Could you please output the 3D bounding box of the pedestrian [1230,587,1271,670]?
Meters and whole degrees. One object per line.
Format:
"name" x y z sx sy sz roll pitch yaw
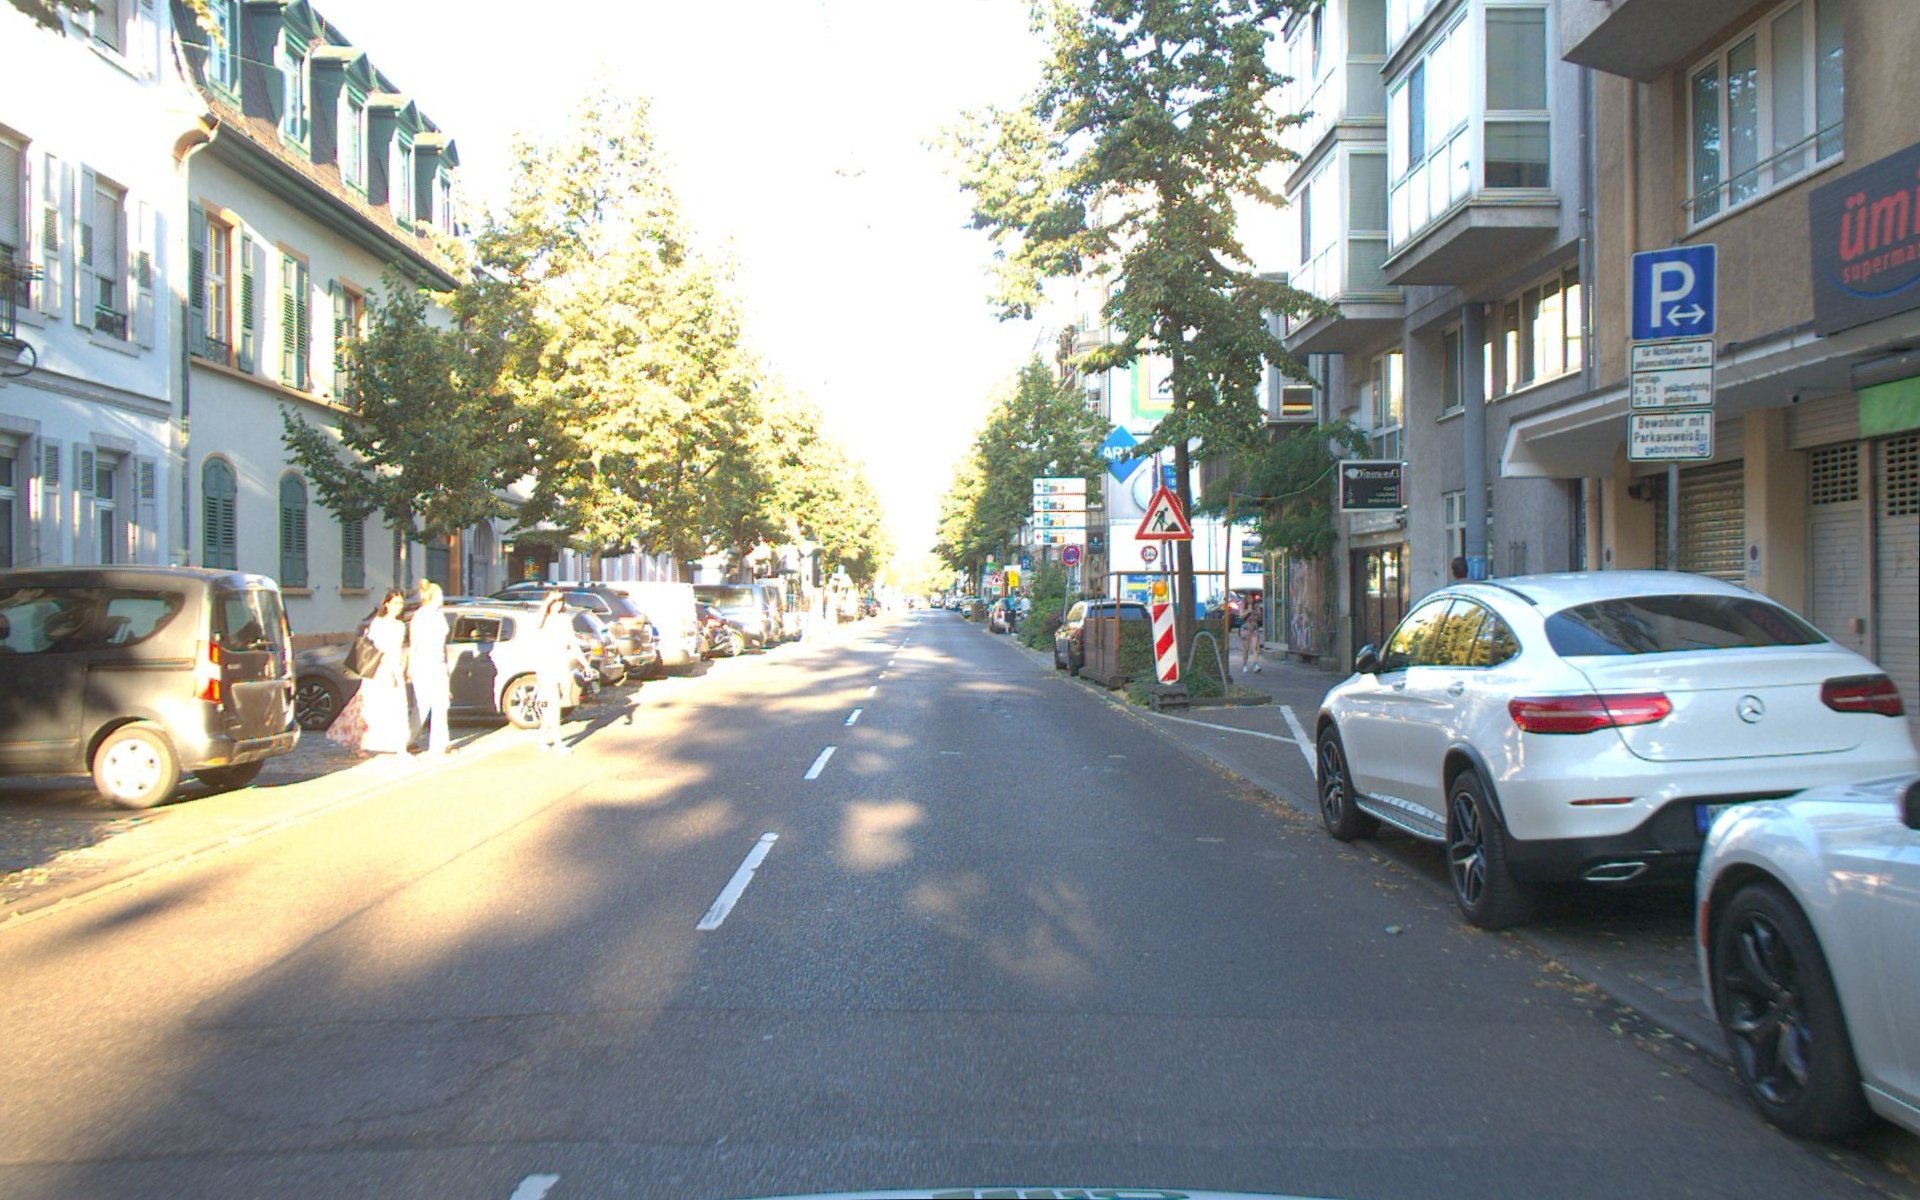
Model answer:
"pedestrian" 5.498 0.531 31.296 0.598 1.552 0.773 -1 0 -1

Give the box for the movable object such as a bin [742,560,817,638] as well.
"movable object such as a bin" -7.256 -0.035 67.139 2.571 3.021 5.302 0 0 -1

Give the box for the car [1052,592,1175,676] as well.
"car" 3.044 0.636 33.729 1.792 1.514 4.847 -2 0 -3

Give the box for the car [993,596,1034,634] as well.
"car" 2.417 0.660 75.643 1.653 1.602 4.012 -3 0 -1

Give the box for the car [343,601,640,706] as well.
"car" -7.044 0.777 25.190 3.956 1.509 1.962 0 0 -2

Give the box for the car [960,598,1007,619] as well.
"car" 1.903 0.674 131.867 1.645 1.616 3.801 0 0 41

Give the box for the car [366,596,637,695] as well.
"car" -7.589 0.735 27.645 3.954 1.582 1.965 0 0 1

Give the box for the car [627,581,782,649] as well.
"car" -7.732 0.446 50.434 4.392 2.010 2.068 0 0 -1

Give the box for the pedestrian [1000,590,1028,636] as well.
"pedestrian" 2.278 0.553 69.940 0.995 1.857 0.778 -3 0 -11

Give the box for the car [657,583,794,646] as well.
"car" -7.879 0.481 55.822 4.394 2.010 1.964 1 0 -3

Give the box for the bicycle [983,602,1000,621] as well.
"bicycle" 2.062 0.762 108.763 0.585 1.198 1.847 0 0 18

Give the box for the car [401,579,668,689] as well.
"car" -7.647 0.589 30.020 4.338 1.903 1.894 0 0 -1

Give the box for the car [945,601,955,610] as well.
"car" -1.581 0.826 252.464 1.482 1.321 3.303 0 -1 0

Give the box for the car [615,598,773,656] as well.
"car" -7.396 0.745 46.323 4.243 1.527 1.840 1 0 -6

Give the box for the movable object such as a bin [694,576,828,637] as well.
"movable object such as a bin" -8.533 0.279 71.460 2.272 2.539 5.720 0 0 42

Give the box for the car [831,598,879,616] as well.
"car" -9.832 0.659 154.994 4.351 1.549 1.919 1 0 -1

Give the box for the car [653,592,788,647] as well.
"car" -7.659 0.606 53.132 4.045 1.665 1.860 1 0 -1

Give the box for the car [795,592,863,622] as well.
"car" -8.961 0.476 113.242 4.479 1.996 1.990 1 0 -1

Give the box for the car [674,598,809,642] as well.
"car" -7.759 0.695 58.897 4.499 1.495 1.893 1 0 2

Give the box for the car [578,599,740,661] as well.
"car" -7.813 0.771 43.199 3.842 1.527 1.905 1 0 1

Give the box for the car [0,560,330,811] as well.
"car" -7.373 0.634 13.096 4.053 1.838 1.807 0 0 0

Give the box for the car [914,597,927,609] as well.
"car" -5.545 0.452 234.495 1.716 1.567 3.303 0 -1 0

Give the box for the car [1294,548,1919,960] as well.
"car" 3.283 0.615 9.087 1.841 1.601 4.691 -3 0 -1

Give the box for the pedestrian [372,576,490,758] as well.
"pedestrian" -5.365 0.665 16.822 0.903 1.790 0.762 -2 0 0

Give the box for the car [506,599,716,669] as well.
"car" -7.922 0.764 37.806 4.385 1.511 1.734 1 0 1

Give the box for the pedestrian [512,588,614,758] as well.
"pedestrian" -4.014 0.722 16.788 0.810 1.667 0.827 -1 0 0

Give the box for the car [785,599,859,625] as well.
"car" -8.585 0.730 103.062 4.455 1.568 1.810 1 0 -2

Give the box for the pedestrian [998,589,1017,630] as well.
"pedestrian" 2.080 0.432 72.446 0.665 1.785 0.823 -1 -1 -11

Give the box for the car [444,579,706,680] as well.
"car" -7.593 0.567 32.983 4.771 1.941 1.973 0 0 -1

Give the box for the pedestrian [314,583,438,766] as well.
"pedestrian" -5.654 0.704 16.054 0.902 1.725 0.762 -1 0 0

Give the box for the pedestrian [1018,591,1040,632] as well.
"pedestrian" 3.012 0.507 72.167 0.657 1.730 0.648 -3 0 45

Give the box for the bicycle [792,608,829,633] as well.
"bicycle" -7.053 0.968 78.040 1.647 1.097 0.445 2 -1 7

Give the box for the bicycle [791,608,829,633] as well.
"bicycle" -7.029 0.955 77.448 1.647 1.097 0.445 2 -1 7

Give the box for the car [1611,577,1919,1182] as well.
"car" 3.323 0.682 3.374 1.804 1.506 5.188 -3 0 -1

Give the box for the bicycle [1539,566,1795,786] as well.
"bicycle" 4.601 0.453 10.945 0.759 1.284 2.050 -3 0 0

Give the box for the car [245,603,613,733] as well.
"car" -6.390 0.795 20.238 3.978 1.487 1.684 0 0 -4

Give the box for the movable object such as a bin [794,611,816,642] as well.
"movable object such as a bin" -5.702 0.983 60.876 0.675 1.124 0.883 -1 0 1

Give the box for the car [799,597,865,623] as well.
"car" -8.940 0.715 116.004 4.478 1.727 2.060 1 0 -1

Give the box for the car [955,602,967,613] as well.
"car" 0.154 0.972 211.591 1.482 1.298 3.303 0 -1 0

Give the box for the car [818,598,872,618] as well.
"car" -9.571 0.662 137.540 4.351 1.595 1.919 1 0 -1

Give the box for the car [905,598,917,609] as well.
"car" -7.523 0.528 253.935 1.716 1.567 3.303 0 -1 0

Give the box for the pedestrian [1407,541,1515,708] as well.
"pedestrian" 5.691 0.267 18.834 0.839 1.826 0.996 -1 0 -4

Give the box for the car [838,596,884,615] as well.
"car" -9.617 0.552 161.501 4.351 1.790 1.919 1 0 -1

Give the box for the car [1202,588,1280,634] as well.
"car" 9.489 0.389 56.239 1.699 1.456 4.907 -1 -1 -1
